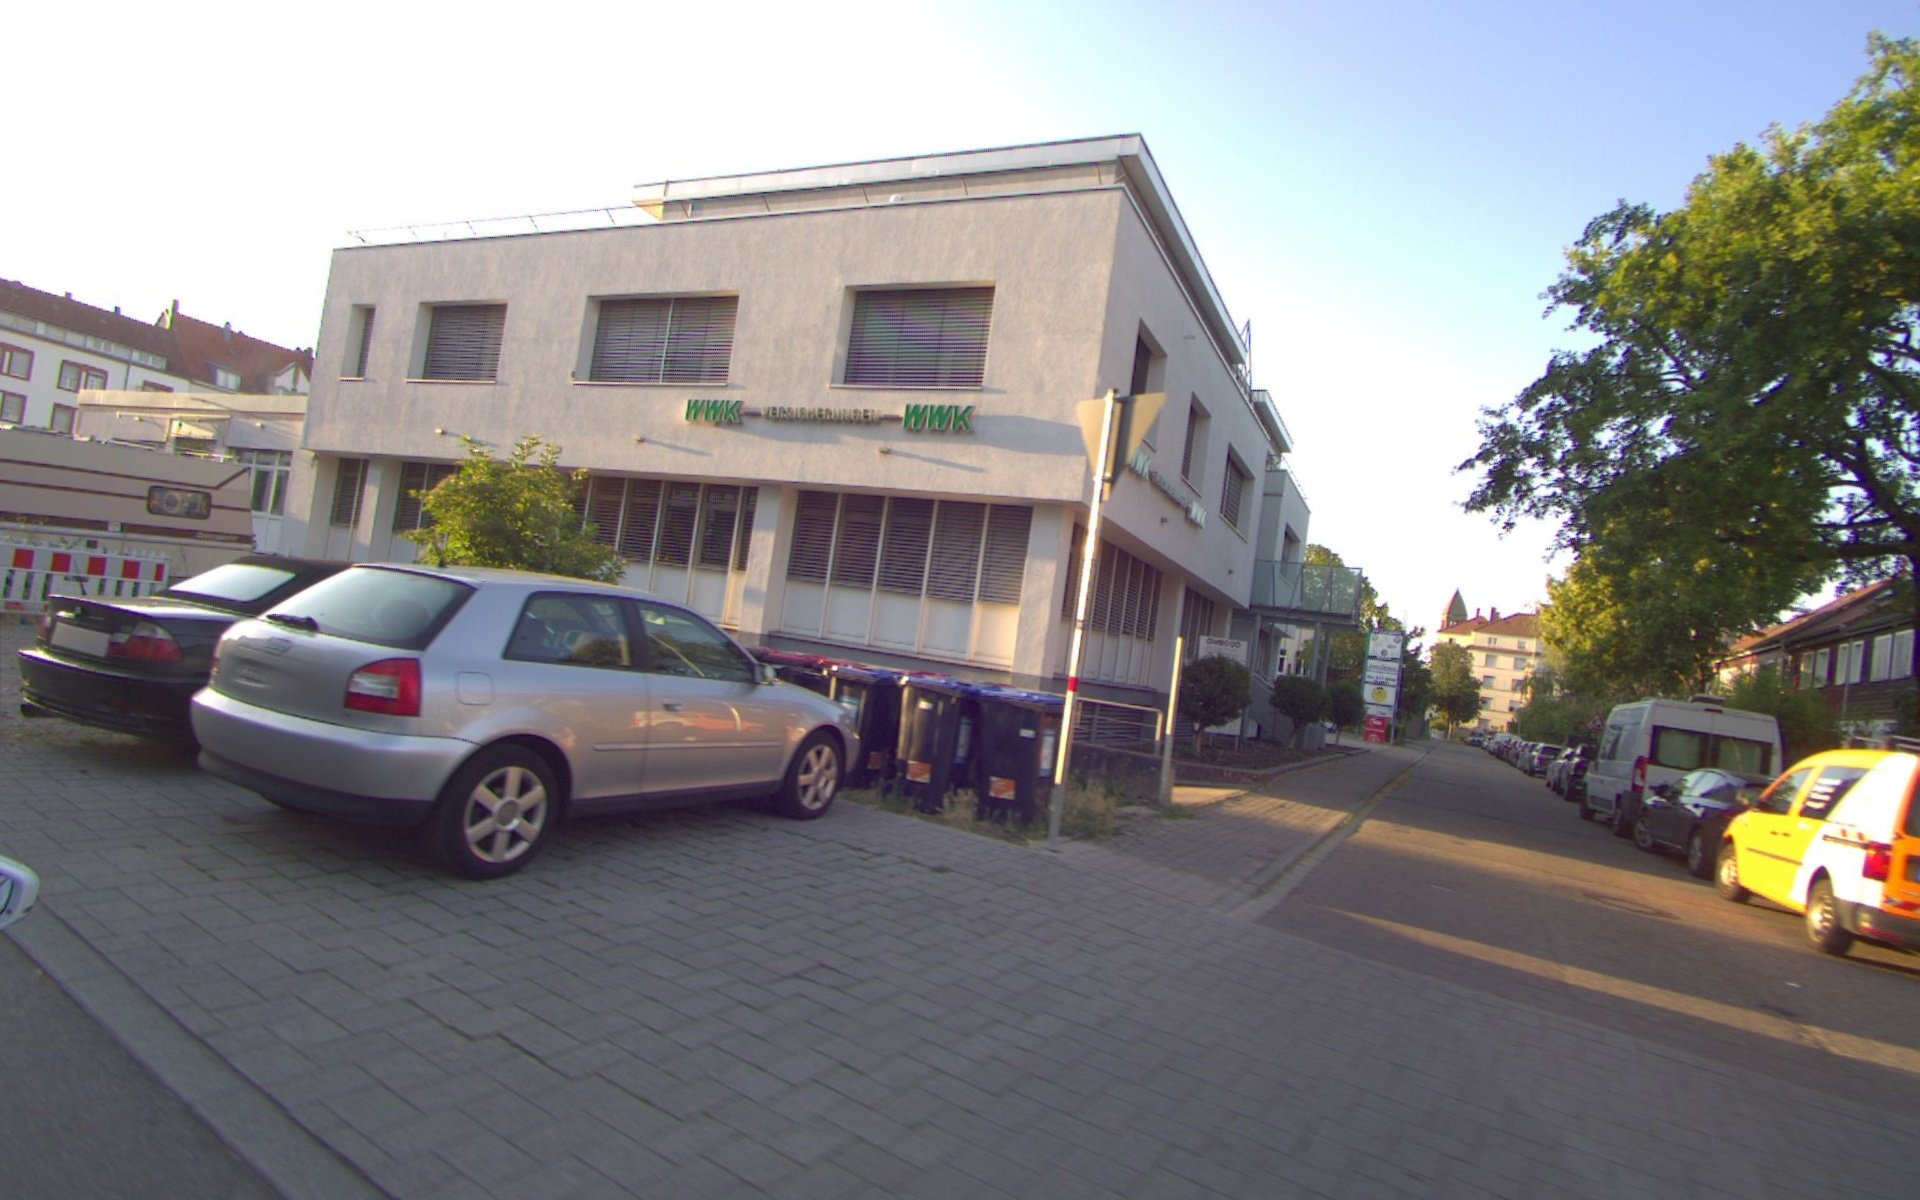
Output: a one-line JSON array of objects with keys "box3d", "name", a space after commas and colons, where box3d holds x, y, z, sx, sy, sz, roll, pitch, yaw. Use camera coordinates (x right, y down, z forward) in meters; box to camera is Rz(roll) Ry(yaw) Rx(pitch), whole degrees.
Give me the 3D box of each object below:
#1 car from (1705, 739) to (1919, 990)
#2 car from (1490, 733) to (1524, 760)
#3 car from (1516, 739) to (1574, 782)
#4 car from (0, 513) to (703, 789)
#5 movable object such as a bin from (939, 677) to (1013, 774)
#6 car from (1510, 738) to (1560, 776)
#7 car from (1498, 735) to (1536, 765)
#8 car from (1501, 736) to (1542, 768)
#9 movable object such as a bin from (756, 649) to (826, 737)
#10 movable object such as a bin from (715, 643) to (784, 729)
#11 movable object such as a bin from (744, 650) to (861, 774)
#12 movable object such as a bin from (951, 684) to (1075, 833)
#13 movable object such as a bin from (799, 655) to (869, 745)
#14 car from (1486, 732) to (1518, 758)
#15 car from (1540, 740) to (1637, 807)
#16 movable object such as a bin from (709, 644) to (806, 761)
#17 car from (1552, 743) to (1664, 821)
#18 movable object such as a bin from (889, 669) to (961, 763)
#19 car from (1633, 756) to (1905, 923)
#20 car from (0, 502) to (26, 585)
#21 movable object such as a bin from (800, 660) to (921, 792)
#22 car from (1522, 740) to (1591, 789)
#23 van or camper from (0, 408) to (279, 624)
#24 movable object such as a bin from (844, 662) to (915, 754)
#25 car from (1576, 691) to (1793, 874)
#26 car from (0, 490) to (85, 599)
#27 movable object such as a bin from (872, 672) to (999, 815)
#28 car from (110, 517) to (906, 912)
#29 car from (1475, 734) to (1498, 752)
[{"box3d": [8.675, 2.384, 9.404, 1.751, 1.786, 3.955, 9, -2, 25], "name": "car"}, {"box3d": [40.446, 10.819, 74.424, 1.777, 1.572, 3.611, 9, -2, 25], "name": "car"}, {"box3d": [28.352, 7.746, 48.861, 1.923, 1.572, 3.611, 9, -2, 25], "name": "car"}, {"box3d": [-4.192, 0.426, 7.554, 1.863, 1.348, 4.327, 6, -2, 28], "name": "car"}, {"box3d": [0.174, 1.328, 10.716, 0.517, 0.942, 0.468, 7, -1, 29], "name": "movable object such as a bin"}, {"box3d": [30.522, 8.289, 53.451, 1.777, 1.572, 3.611, 9, -2, 25], "name": "car"}, {"box3d": [37.322, 10.019, 67.492, 1.777, 1.572, 3.611, 9, -2, 25], "name": "car"}, {"box3d": [35.172, 9.486, 63.071, 1.777, 1.572, 3.611, 9, -2, 25], "name": "car"}, {"box3d": [-1.971, 1.081, 11.730, 0.517, 0.942, 0.468, 7, -1, 29], "name": "movable object such as a bin"}, {"box3d": [-2.497, 1.020, 11.963, 0.517, 0.942, 0.468, 7, -1, 29], "name": "movable object such as a bin"}, {"box3d": [-1.479, 1.051, 9.521, 0.698, 1.033, 0.708, 7, -2, 22], "name": "movable object such as a bin"}, {"box3d": [0.439, 1.242, 8.058, 0.698, 1.033, 0.646, 7, -2, 22], "name": "movable object such as a bin"}, {"box3d": [-1.445, 1.145, 11.557, 0.517, 0.942, 0.468, 7, -1, 29], "name": "movable object such as a bin"}, {"box3d": [42.350, 11.319, 78.670, 1.777, 1.572, 3.611, 9, -2, 25], "name": "car"}, {"box3d": [20.205, 5.538, 32.538, 1.923, 1.572, 4.266, 9, -2, 25], "name": "car"}, {"box3d": [-1.978, 0.997, 9.850, 0.551, 1.033, 0.623, 7, -2, 22], "name": "movable object such as a bin"}, {"box3d": [17.820, 4.959, 27.840, 1.923, 1.572, 3.611, 9, -2, 25], "name": "car"}, {"box3d": [-0.384, 1.267, 11.053, 0.517, 0.942, 0.468, 7, -1, 29], "name": "movable object such as a bin"}, {"box3d": [10.895, 3.139, 13.884, 1.923, 1.471, 3.611, 9, -2, 25], "name": "car"}, {"box3d": [-20.277, -1.358, 18.560, 1.682, 1.581, 4.017, 7, -2, 26], "name": "car"}, {"box3d": [-0.879, 1.110, 8.998, 0.698, 1.033, 0.708, 7, -2, 22], "name": "movable object such as a bin"}, {"box3d": [25.051, 6.875, 42.370, 1.923, 1.572, 3.611, 9, -2, 25], "name": "car"}, {"box3d": [-14.834, -1.398, 16.112, 2.444, 2.897, 5.796, 6, -2, 29], "name": "van or camper"}, {"box3d": [-0.904, 1.208, 11.322, 0.517, 0.942, 0.468, 7, -1, 29], "name": "movable object such as a bin"}, {"box3d": [13.141, 3.199, 18.637, 2.060, 2.588, 4.757, 9, -2, 25], "name": "car"}, {"box3d": [-17.898, -1.201, 16.974, 1.936, 1.761, 4.247, 6, -2, 34], "name": "car"}, {"box3d": [-0.192, 1.179, 8.413, 0.698, 1.033, 0.759, 7, -2, 22], "name": "movable object such as a bin"}, {"box3d": [-2.244, 0.593, 6.184, 1.863, 1.424, 4.066, 7, -1, 28], "name": "car"}, {"box3d": [55.616, 15.078, 106.243, 1.777, 1.572, 3.611, 9, -2, 25], "name": "car"}]
